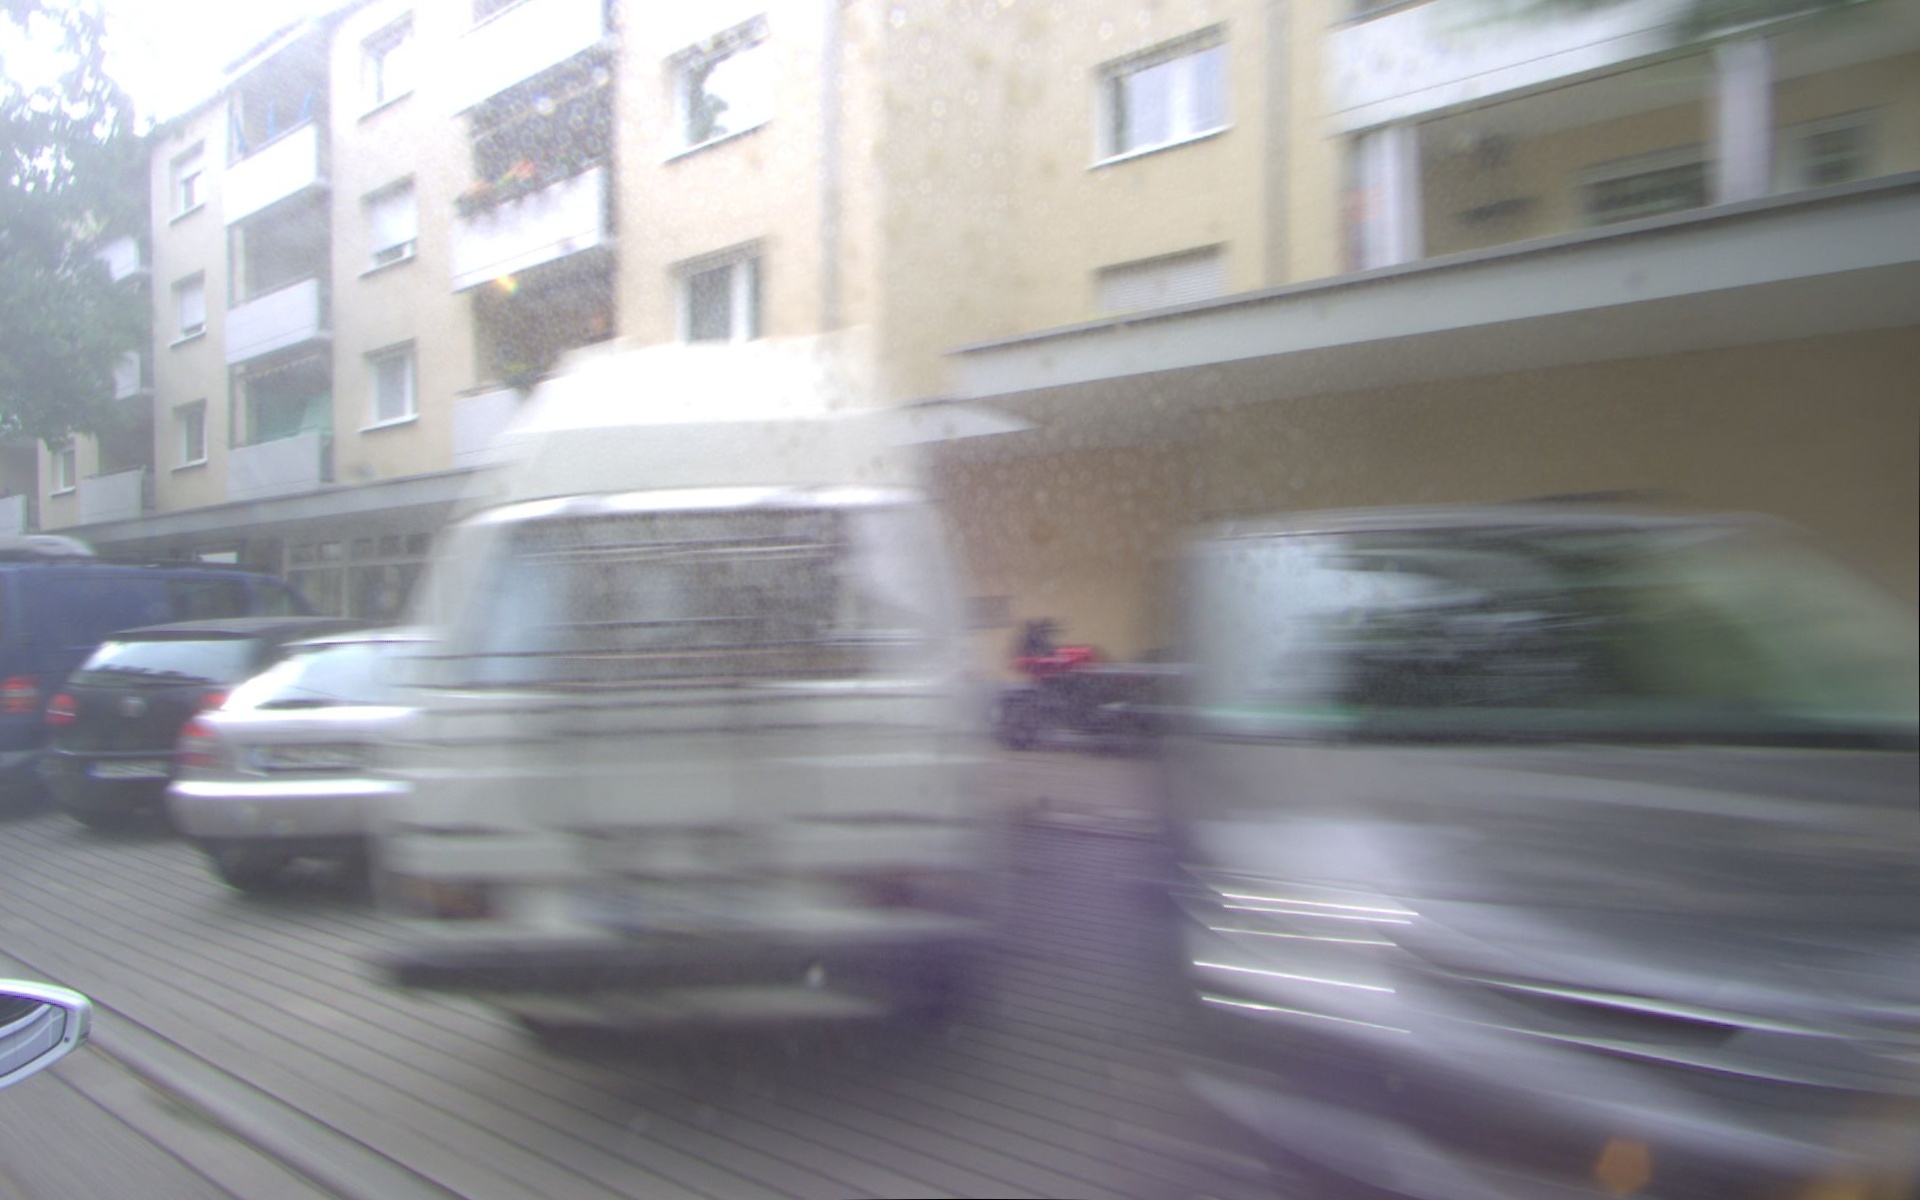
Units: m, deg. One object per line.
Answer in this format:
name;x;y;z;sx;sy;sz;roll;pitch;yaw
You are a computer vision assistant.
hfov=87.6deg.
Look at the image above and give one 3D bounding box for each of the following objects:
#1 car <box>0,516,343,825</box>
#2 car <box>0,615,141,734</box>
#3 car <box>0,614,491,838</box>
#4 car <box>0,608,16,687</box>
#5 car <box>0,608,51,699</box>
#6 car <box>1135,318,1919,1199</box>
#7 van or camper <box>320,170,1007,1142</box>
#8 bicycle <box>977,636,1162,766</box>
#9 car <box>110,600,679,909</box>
car;-8.089;0.466;9.426;2.027;2.226;4.702;0;1;-7
car;-12.821;0.933;12.694;1.817;1.461;4.112;0;-1;-7
car;-5.683;0.868;8.524;1.656;1.500;3.668;0;-1;0
car;-19.787;0.959;17.700;1.937;1.521;4.225;-1;1;6
car;-17.215;0.929;16.122;1.817;1.516;3.368;-1;0;11
car;1.697;0.497;3.870;1.874;1.878;4.345;0;-1;8
van or camper;-0.773;0.187;5.019;1.874;2.630;4.597;0;-1;1
bicycle;0.999;0.898;9.345;1.678;1.105;0.483;-1;1;36
car;-3.291;0.759;6.801;1.691;1.437;3.815;0;1;0
